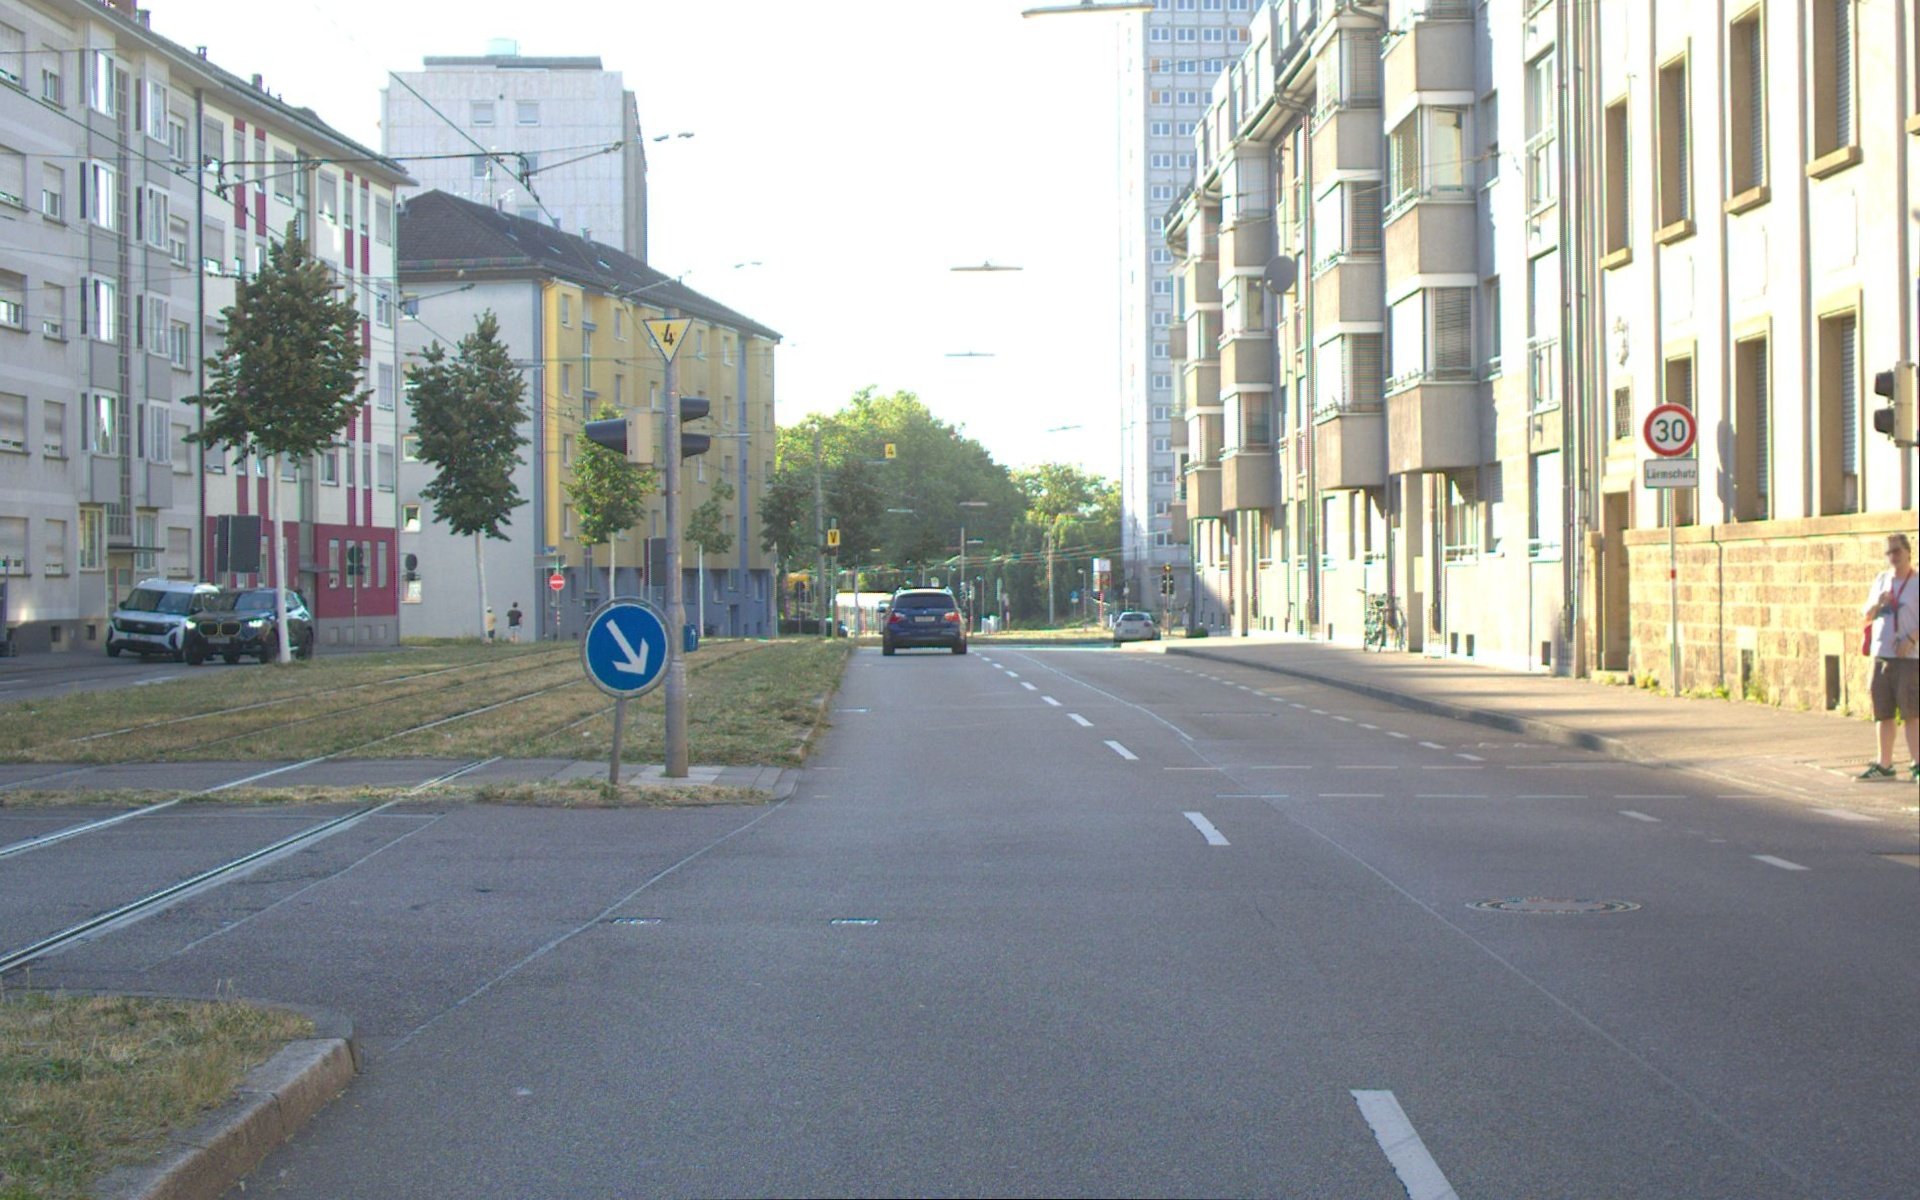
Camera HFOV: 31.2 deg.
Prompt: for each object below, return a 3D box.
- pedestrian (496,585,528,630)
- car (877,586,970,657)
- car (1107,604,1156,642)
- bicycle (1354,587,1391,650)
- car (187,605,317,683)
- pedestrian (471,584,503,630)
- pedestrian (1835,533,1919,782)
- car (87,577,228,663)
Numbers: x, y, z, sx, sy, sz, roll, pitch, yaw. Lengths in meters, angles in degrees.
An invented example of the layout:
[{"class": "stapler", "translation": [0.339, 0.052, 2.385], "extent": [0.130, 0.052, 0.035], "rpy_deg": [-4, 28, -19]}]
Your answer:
[{"class": "pedestrian", "translation": [-16.780, 0.270, 128.755], "extent": [0.962, 1.664, 1.011], "rpy_deg": [1, 0, 5]}, {"class": "car", "translation": [-0.767, 0.463, 73.912], "extent": [1.926, 1.451, 4.327], "rpy_deg": [1, 0, 0]}, {"class": "car", "translation": [7.378, 0.980, 147.917], "extent": [1.993, 1.558, 4.000], "rpy_deg": [1, 0, 1]}, {"class": "bicycle", "translation": [7.260, 0.325, 60.526], "extent": [0.383, 1.092, 1.504], "rpy_deg": [-1, 0, -3]}, {"class": "car", "translation": [-15.527, 0.940, 75.604], "extent": [1.897, 1.628, 4.747], "rpy_deg": [-1, 0, 0]}, {"class": "pedestrian", "translation": [-17.644, 0.253, 128.223], "extent": [0.962, 1.688, 1.011], "rpy_deg": [1, 0, 5]}, {"class": "pedestrian", "translation": [6.829, 0.411, 24.717], "extent": [0.835, 1.756, 0.824], "rpy_deg": [1, -1, -1]}, {"class": "car", "translation": [-18.597, 0.470, 79.856], "extent": [1.994, 1.918, 4.541], "rpy_deg": [1, 0, 3]}]
